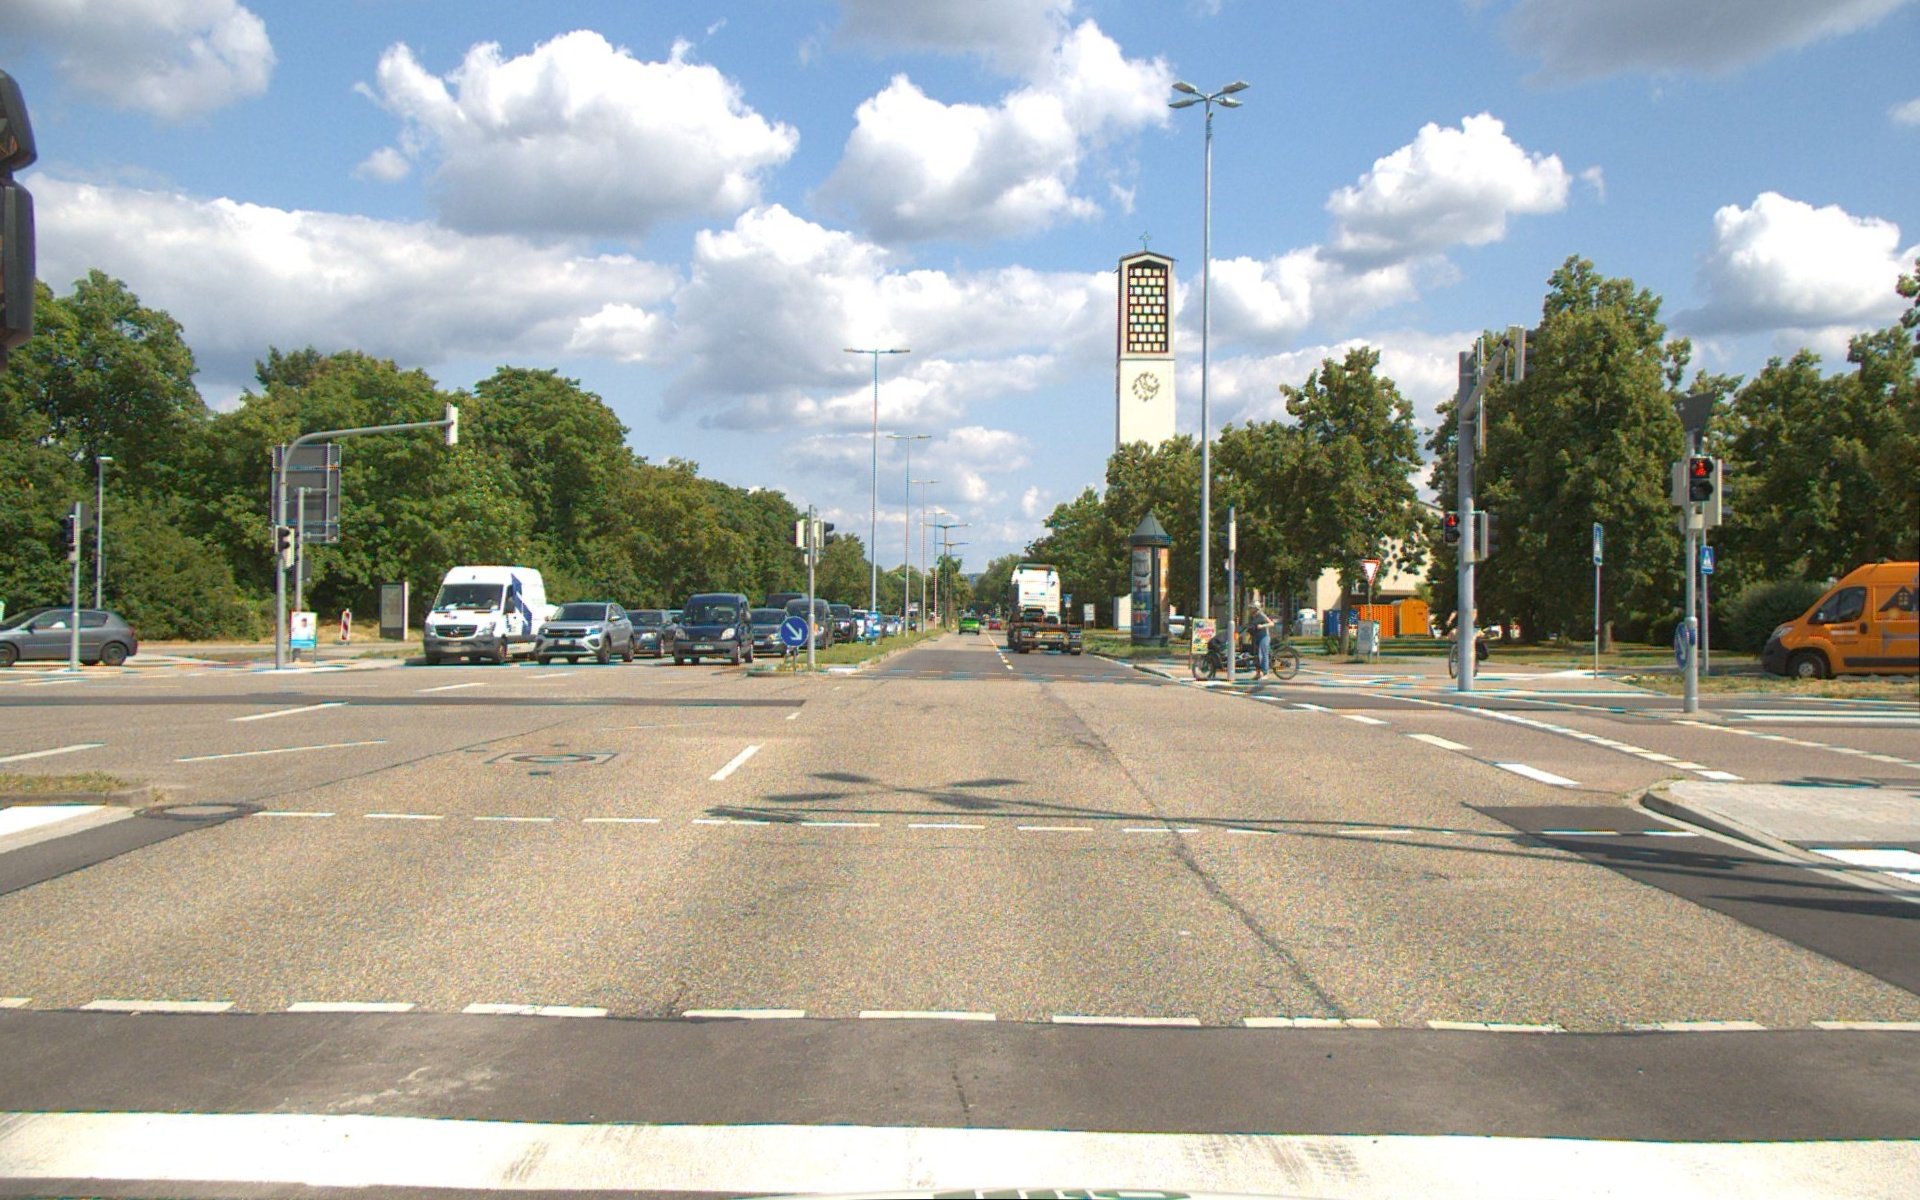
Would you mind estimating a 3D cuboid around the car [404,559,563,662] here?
[{"bbox_3d":[-12.677,0.304,44.505,2.128,2.514,5.969,2,-1,3],"label":"car"}]

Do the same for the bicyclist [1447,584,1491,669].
[{"bbox_3d":[11.123,0.575,36.146,0.673,1.836,0.785,0,-1,40],"label":"bicyclist"}]

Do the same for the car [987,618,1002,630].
[{"bbox_3d":[4.881,3.350,234.444,1.953,1.579,3.999,2,-1,-1],"label":"car"}]

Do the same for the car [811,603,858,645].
[{"bbox_3d":[-5.328,1.031,70.764,1.699,1.689,4.230,2,-1,-1],"label":"car"}]

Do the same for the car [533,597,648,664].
[{"bbox_3d":[-9.401,0.780,42.432,1.698,1.570,4.310,2,-1,3],"label":"car"}]

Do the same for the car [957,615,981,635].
[{"bbox_3d":[0.737,2.059,138.450,1.953,1.579,3.999,2,-1,-1],"label":"car"}]

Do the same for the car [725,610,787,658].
[{"bbox_3d":[-6.093,0.996,49.736,1.537,1.339,3.430,2,-1,-3],"label":"car"}]

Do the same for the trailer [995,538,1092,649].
[{"bbox_3d":[3.422,-0.147,67.212,3.544,4.082,11.322,1,-1,3],"label":"trailer"}]

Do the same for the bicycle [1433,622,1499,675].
[{"bbox_3d":[11.044,1.042,36.061,0.673,1.113,1.993,0,-1,40],"label":"bicycle"}]

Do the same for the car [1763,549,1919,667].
[{"bbox_3d":[18.934,0.195,33.189,4.762,2.264,2.204,2,-1,35],"label":"car"}]

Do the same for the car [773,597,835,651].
[{"bbox_3d":[-5.349,0.788,57.175,1.699,1.689,4.231,2,0,0],"label":"car"}]

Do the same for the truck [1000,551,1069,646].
[{"bbox_3d":[3.463,0.026,75.176,2.897,4.040,8.641,1,-1,3],"label":"truck"}]

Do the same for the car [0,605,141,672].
[{"bbox_3d":[-22.826,0.949,41.108,1.964,1.557,3.977,2,-1,41],"label":"car"}]

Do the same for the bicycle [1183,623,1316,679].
[{"bbox_3d":[6.113,1.066,34.871,2.796,1.131,0.791,1,0,-25],"label":"bicycle"}]

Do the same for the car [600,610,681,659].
[{"bbox_3d":[-9.328,0.995,48.550,1.728,1.375,3.518,1,-1,-1],"label":"car"}]

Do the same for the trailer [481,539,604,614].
[{"bbox_3d":[-12.563,-0.656,50.142,2.080,2.049,5.163,2,-1,3],"label":"trailer"}]

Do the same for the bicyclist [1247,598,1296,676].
[{"bbox_3d":[6.616,0.777,35.099,0.689,1.644,0.791,1,0,-24],"label":"bicyclist"}]

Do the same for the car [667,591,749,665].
[{"bbox_3d":[-6.258,0.677,41.401,1.701,1.689,4.226,2,-1,-5],"label":"car"}]

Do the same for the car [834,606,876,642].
[{"bbox_3d":[-5.197,1.171,82.250,1.699,1.689,4.230,2,-1,0],"label":"car"}]
